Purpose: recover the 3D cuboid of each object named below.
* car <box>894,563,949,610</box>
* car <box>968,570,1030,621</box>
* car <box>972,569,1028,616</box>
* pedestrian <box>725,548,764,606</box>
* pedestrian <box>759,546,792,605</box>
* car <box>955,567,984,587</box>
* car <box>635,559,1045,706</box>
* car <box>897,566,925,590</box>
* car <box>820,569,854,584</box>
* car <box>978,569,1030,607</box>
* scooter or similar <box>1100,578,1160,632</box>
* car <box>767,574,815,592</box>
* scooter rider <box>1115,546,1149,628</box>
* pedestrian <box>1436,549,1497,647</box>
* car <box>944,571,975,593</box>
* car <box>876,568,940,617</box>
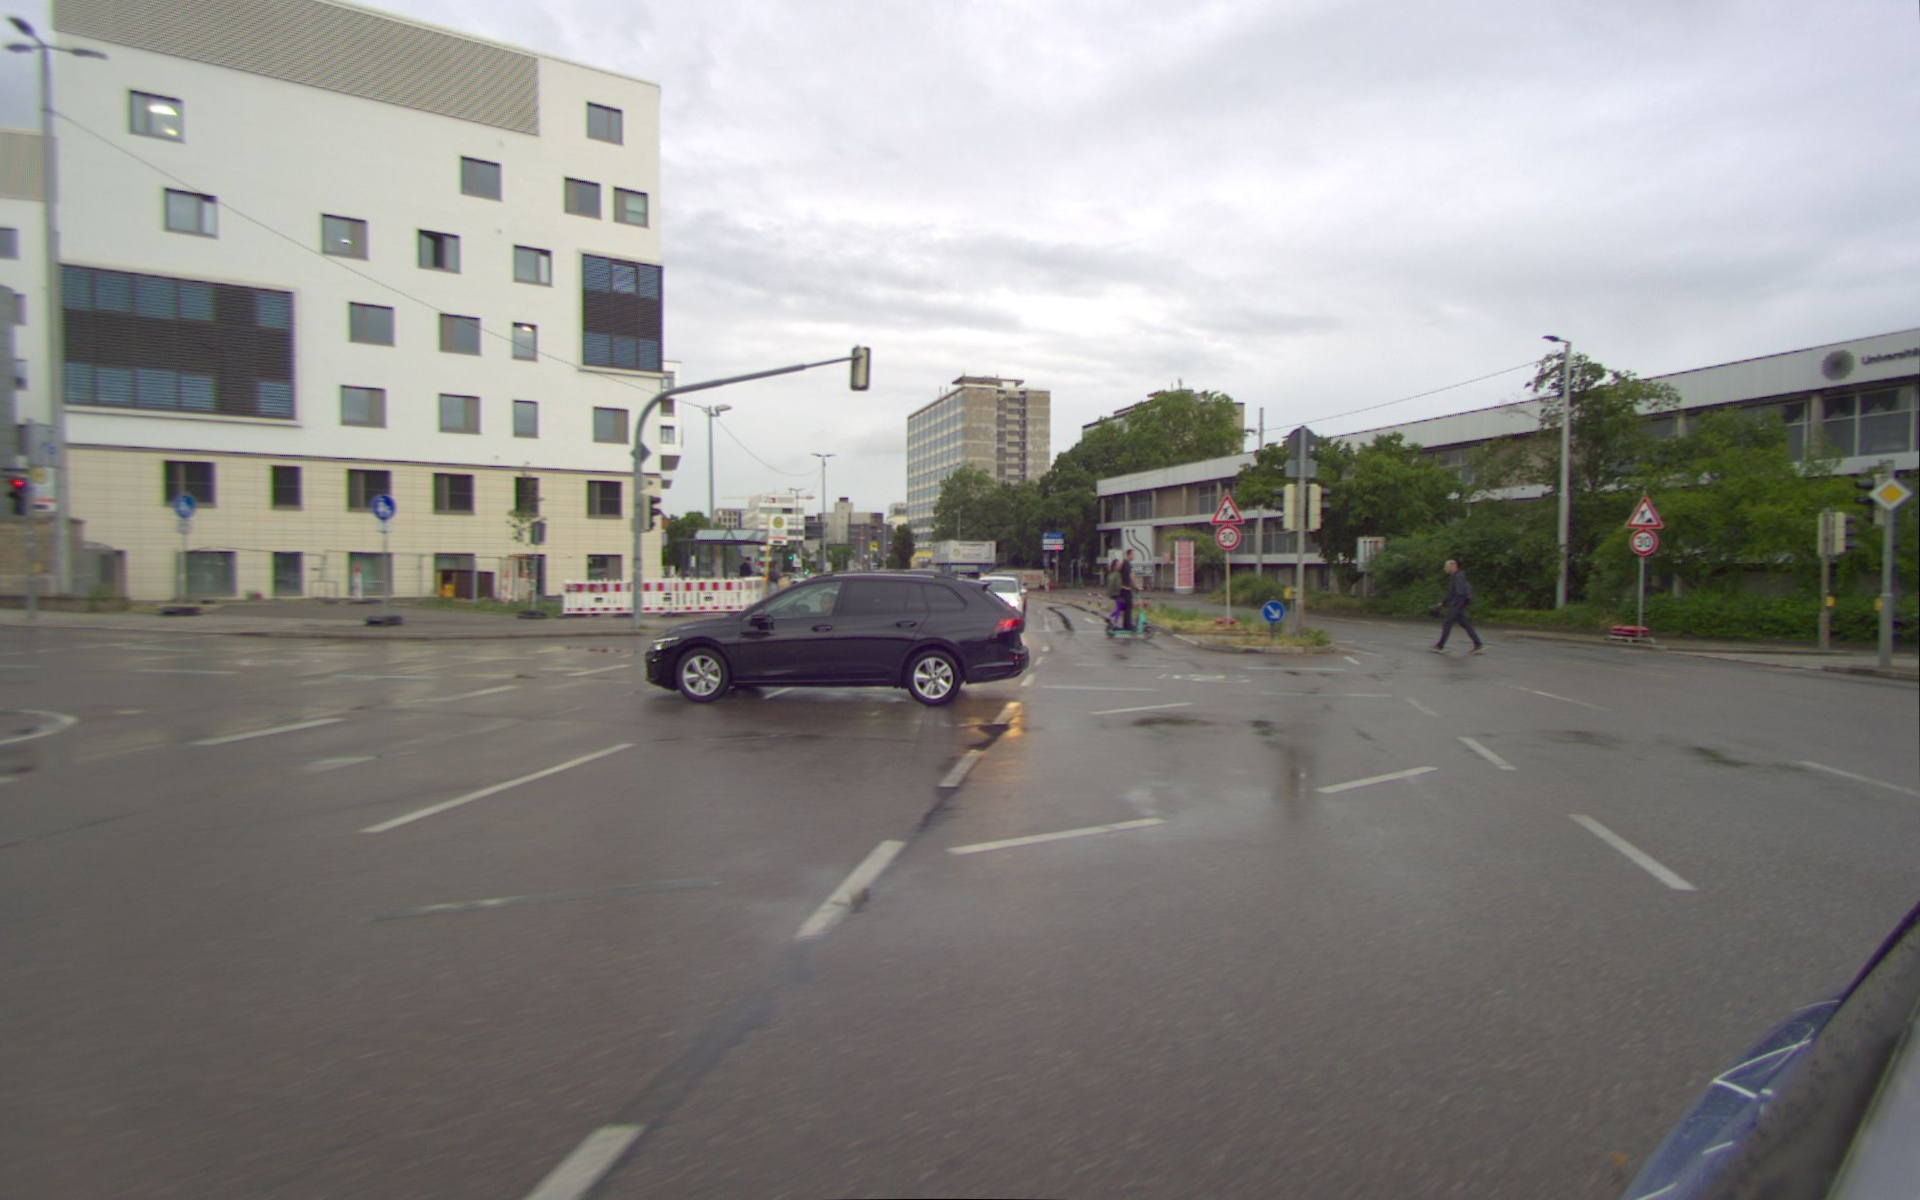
[{"bbox_3d":[-1.426,-0.529,39.203,1.962,1.685,4.389,1,1,0],"label":"car"},{"bbox_3d":[1.201,-0.134,31.414,1.765,1.462,3.997,1,0,2],"label":"car"},{"bbox_3d":[1.417,-0.321,37.359,1.930,1.576,4.529,1,1,1],"label":"car"},{"bbox_3d":[-7.419,-0.791,34.860,0.944,1.960,0.996,0,-1,26],"label":"pedestrian"},{"bbox_3d":[-5.972,-0.784,32.810,0.809,1.863,0.952,0,-1,6],"label":"pedestrian"},{"bbox_3d":[0.941,-2.383,104.183,1.760,1.931,4.320,1,1,-17],"label":"car"},{"bbox_3d":[-1.316,0.335,11.832,4.426,1.484,1.676,2,1,0],"label":"car"},{"bbox_3d":[-3.912,-1.726,80.072,1.927,1.722,4.164,1,0,-7],"label":"car"},{"bbox_3d":[-11.570,-2.210,95.137,1.958,1.395,4.396,0,1,-23],"label":"car"},{"bbox_3d":[1.906,-0.508,45.086,1.928,1.556,4.161,1,0,-3],"label":"car"},{"bbox_3d":[3.998,0.121,23.817,1.287,1.254,0.593,0,-1,-4],"label":"scooter or similar"},{"bbox_3d":[-15.637,-1.581,93.559,4.018,1.577,1.951,1,0,23],"label":"car"},{"bbox_3d":[4.046,-0.306,23.832,0.619,1.907,0.726,0,-1,-3],"label":"scooter rider"},{"bbox_3d":[10.169,-0.041,20.366,0.817,1.916,1.024,0,-1,10],"label":"pedestrian"},{"bbox_3d":[-0.073,-1.230,70.519,1.928,1.468,4.161,1,0,-3],"label":"car"},{"bbox_3d":[-1.641,-0.227,33.168,1.765,1.462,3.997,1,0,2],"label":"car"}]
